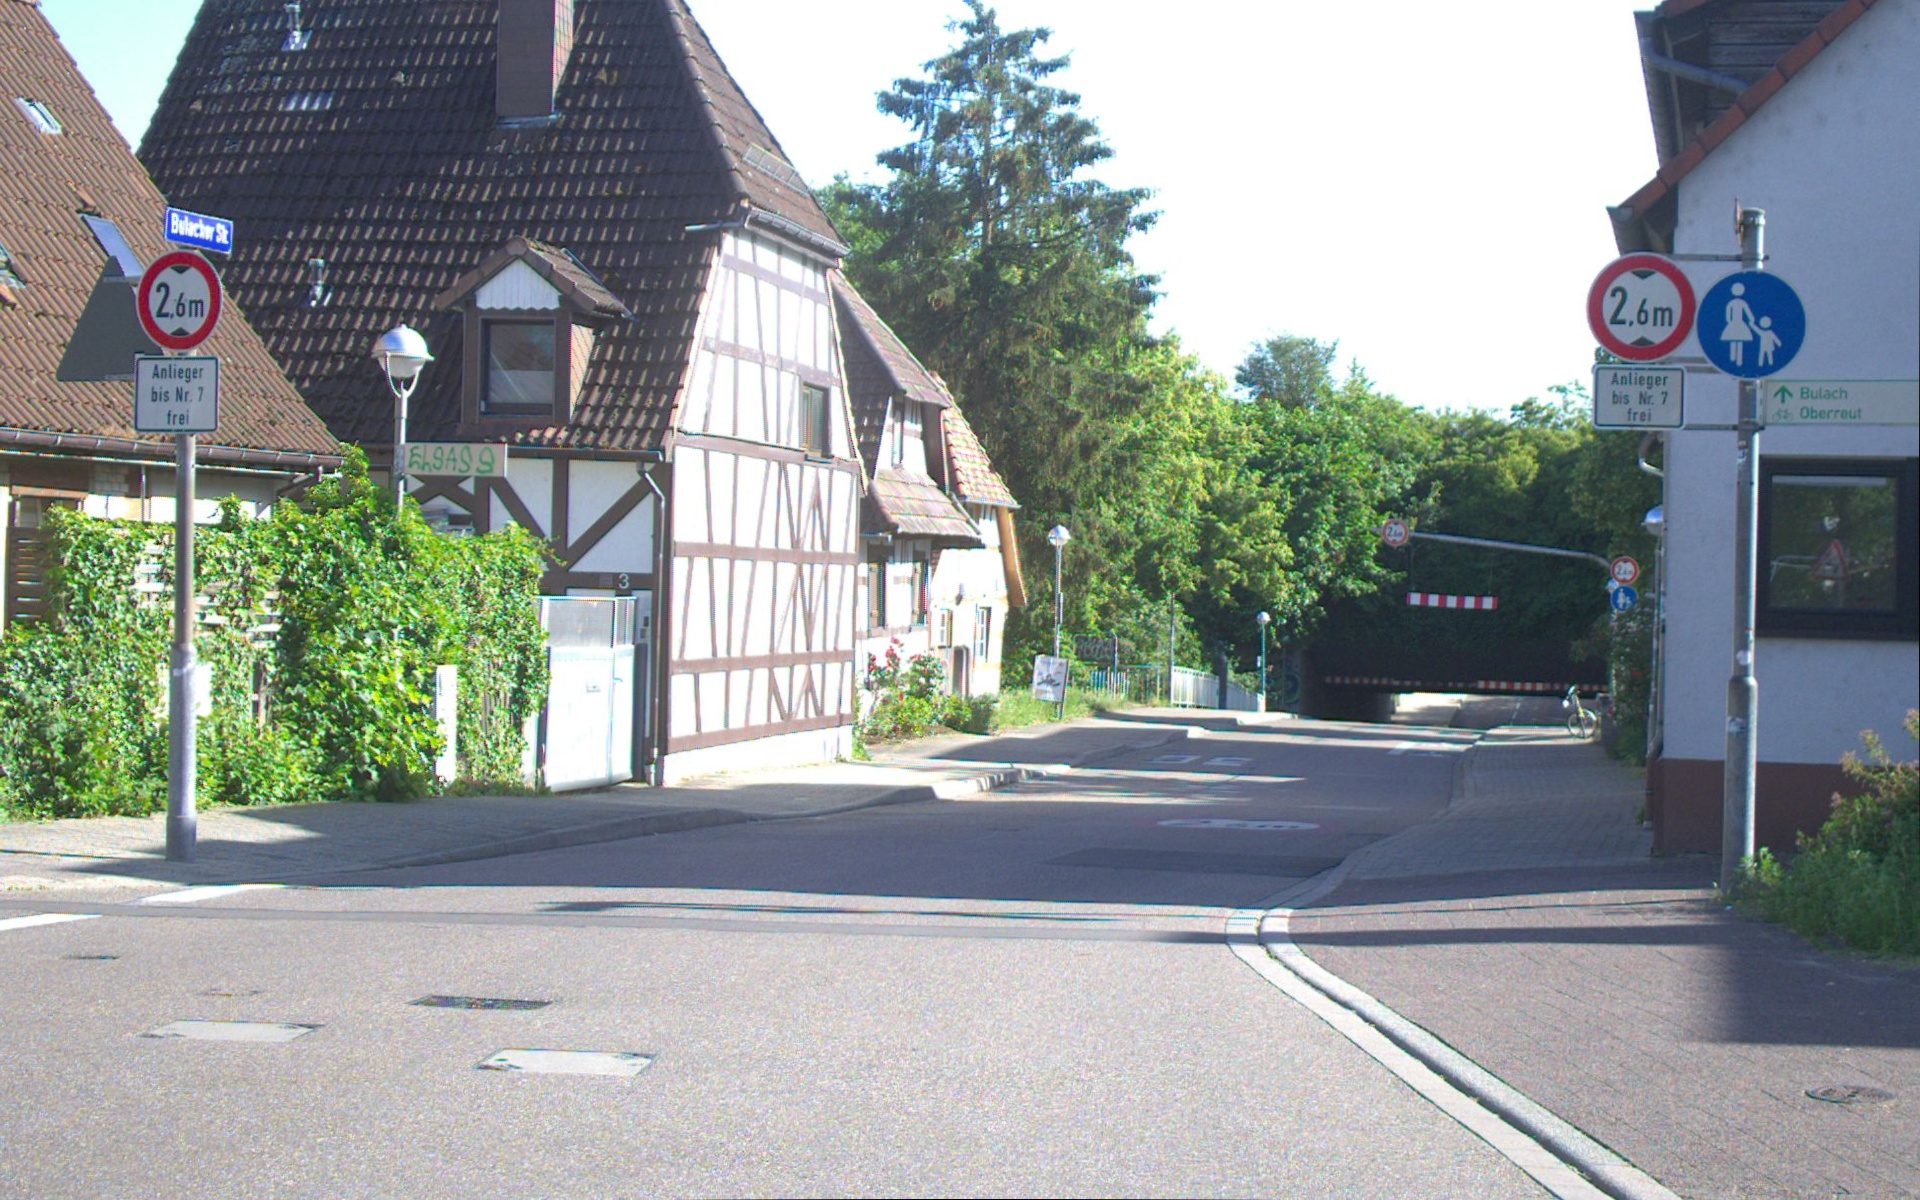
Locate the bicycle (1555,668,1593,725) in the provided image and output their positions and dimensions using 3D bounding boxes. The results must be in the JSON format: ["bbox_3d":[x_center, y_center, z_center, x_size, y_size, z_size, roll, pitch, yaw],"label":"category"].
[{"bbox_3d":[12.920,2.026,72.345,0.689,1.153,1.539,-3,-1,9],"label":"bicycle"}]
